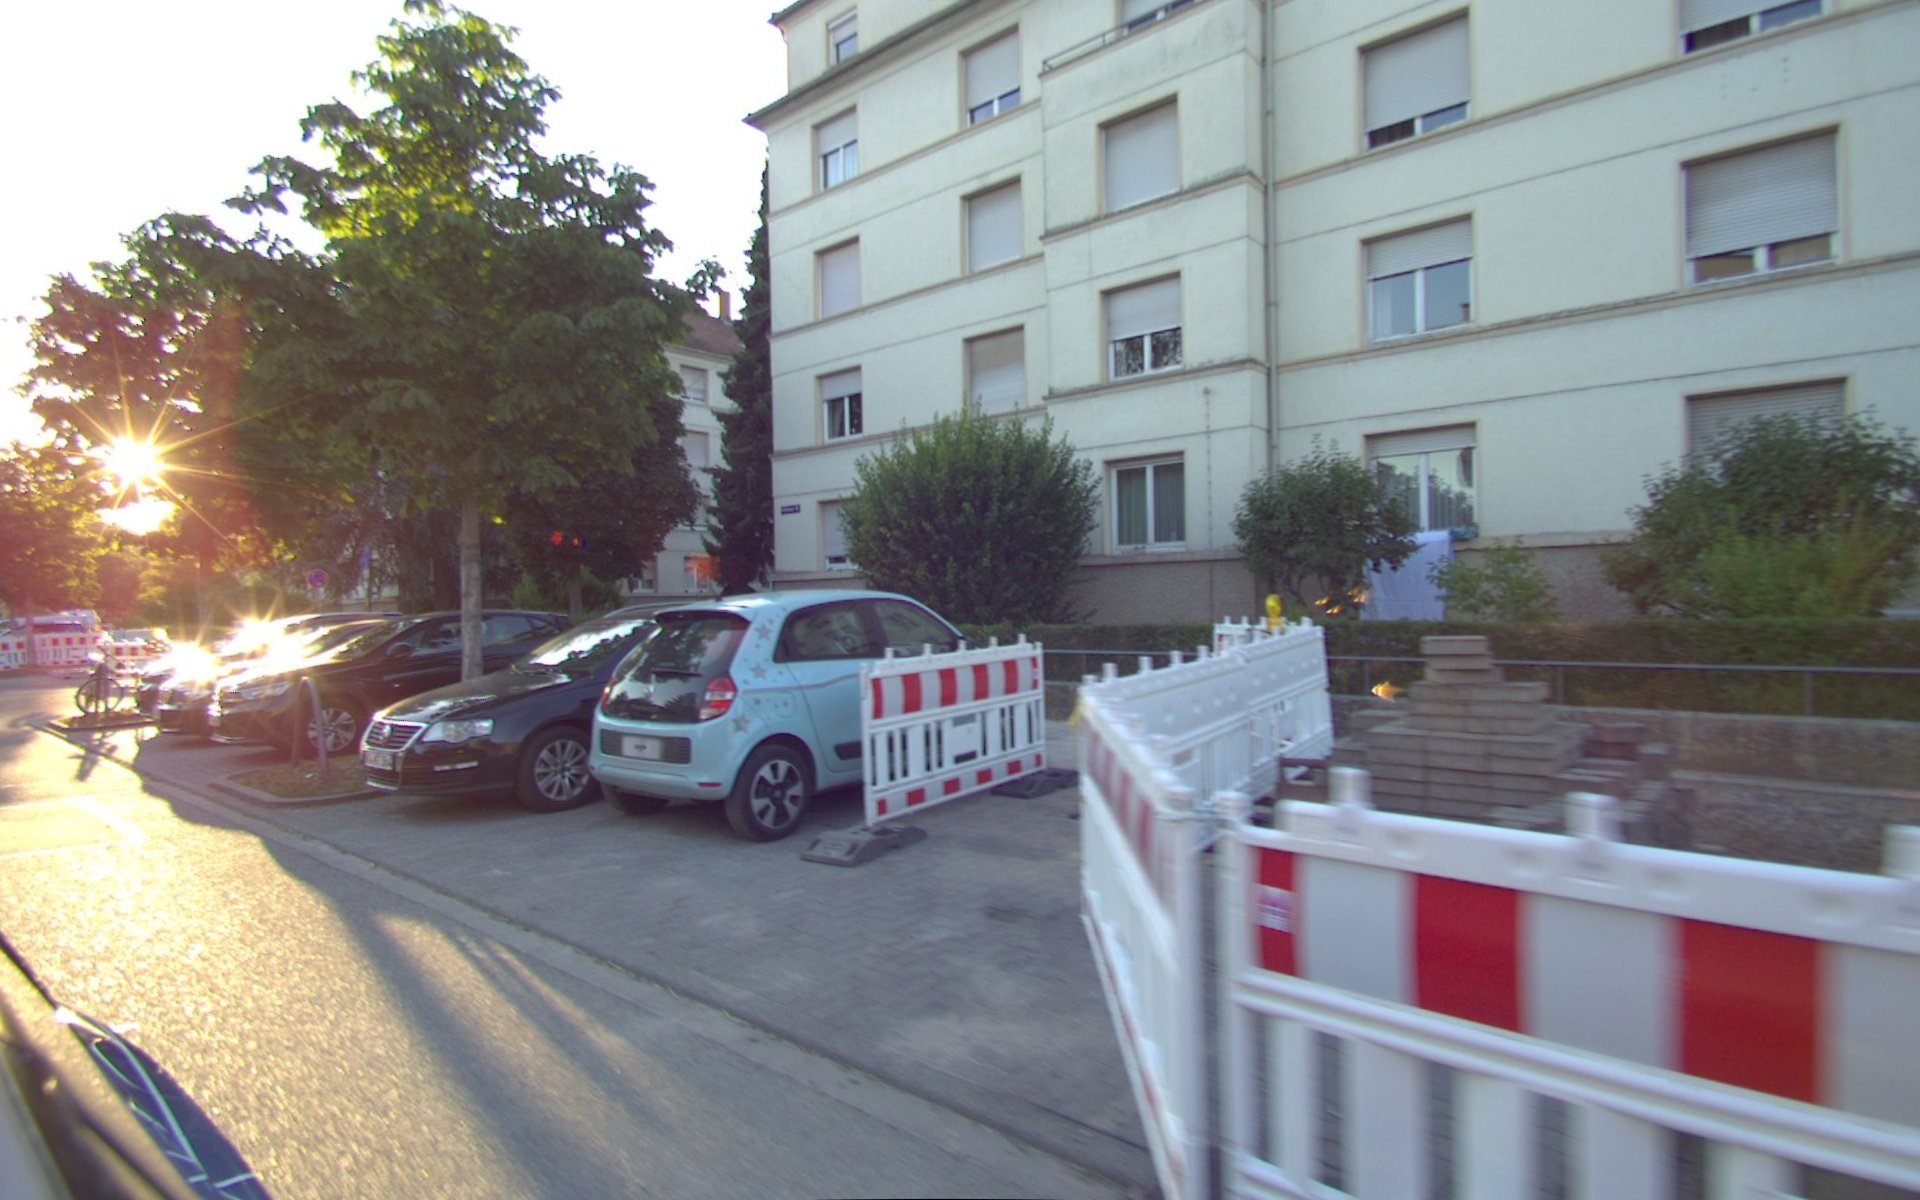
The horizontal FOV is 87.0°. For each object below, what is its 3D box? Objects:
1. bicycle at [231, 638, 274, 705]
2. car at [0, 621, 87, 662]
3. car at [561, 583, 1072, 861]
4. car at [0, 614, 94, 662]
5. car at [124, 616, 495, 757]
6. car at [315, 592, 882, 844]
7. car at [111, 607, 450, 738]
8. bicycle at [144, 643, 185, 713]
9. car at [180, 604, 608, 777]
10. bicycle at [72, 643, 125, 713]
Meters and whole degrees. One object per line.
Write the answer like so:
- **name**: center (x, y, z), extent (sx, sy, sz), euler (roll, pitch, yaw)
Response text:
- **bicycle**: center (-13.091, 1.300, 18.709), extent (1.526, 1.167, 0.276), euler (-2, -1, 41)
- **car**: center (-41.588, 1.846, 44.980), extent (4.073, 1.696, 2.001), euler (-1, 0, -44)
- **car**: center (-0.871, 0.695, 7.758), extent (1.726, 1.495, 3.664), euler (-2, 1, 38)
- **car**: center (-43.272, 1.741, 46.820), extent (4.720, 2.085, 2.001), euler (-1, 0, -45)
- **car**: center (-8.435, 1.019, 13.380), extent (1.606, 1.395, 3.802), euler (-2, 1, 41)
- **car**: center (-2.789, 0.766, 8.855), extent (1.724, 1.495, 4.469), euler (-2, 1, 35)
- **car**: center (-10.155, 0.981, 15.346), extent (1.728, 1.553, 3.944), euler (-2, 1, 43)
- **bicycle**: center (-14.044, 1.358, 17.849), extent (1.526, 1.167, 0.276), euler (-2, -1, 41)
- **car**: center (-6.413, 0.899, 11.799), extent (1.728, 1.495, 3.988), euler (-2, 1, 43)
- **bicycle**: center (-14.568, 1.299, 17.104), extent (1.628, 1.104, 0.442), euler (-2, -1, 41)
